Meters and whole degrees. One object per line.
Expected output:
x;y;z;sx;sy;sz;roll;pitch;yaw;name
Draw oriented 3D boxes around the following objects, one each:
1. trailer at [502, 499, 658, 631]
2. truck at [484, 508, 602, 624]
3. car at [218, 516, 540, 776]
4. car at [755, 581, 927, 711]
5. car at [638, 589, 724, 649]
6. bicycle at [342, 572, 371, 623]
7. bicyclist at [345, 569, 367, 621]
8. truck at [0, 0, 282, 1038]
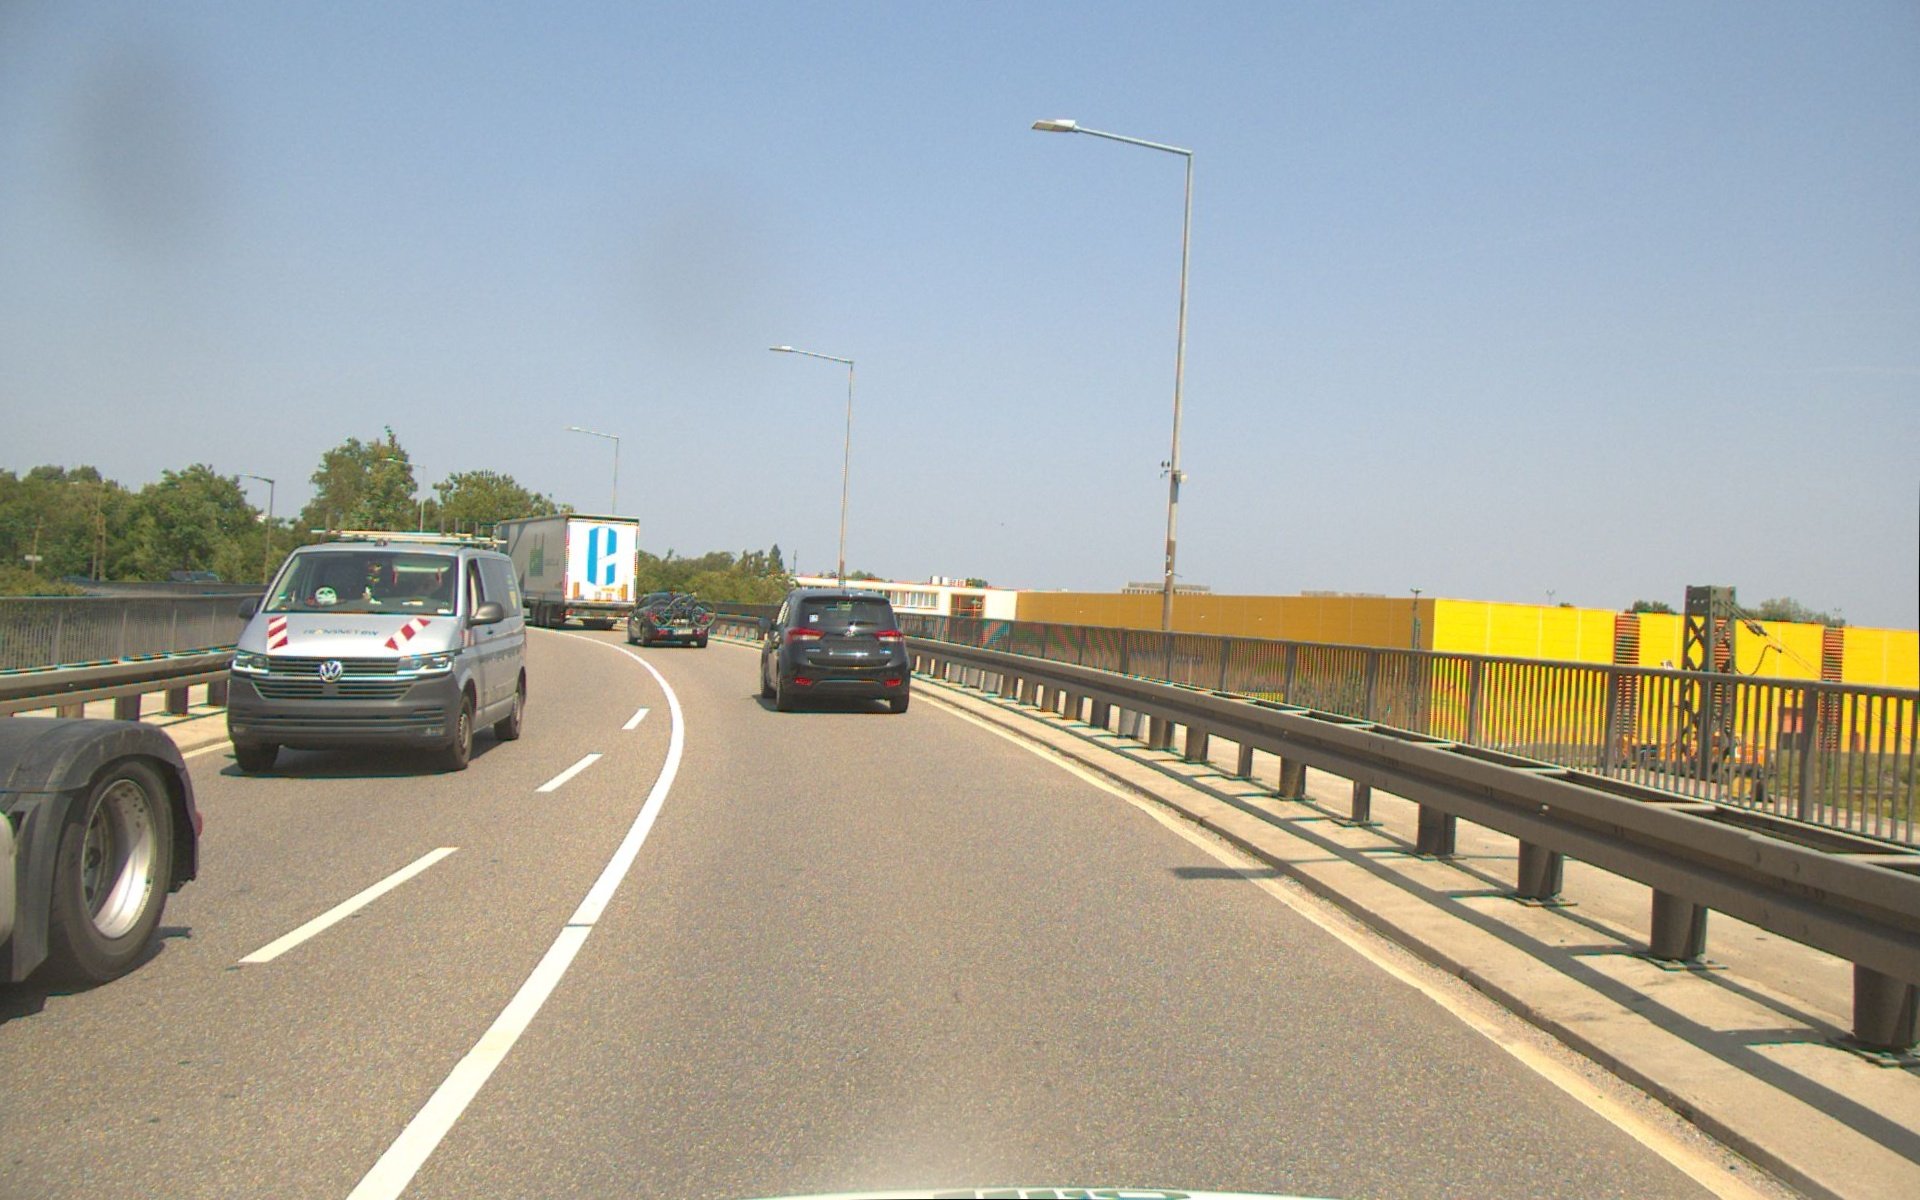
-14.636;-1.297;62.810;3.524;4.460;11.353;2;0;-24;trailer
-17.504;-1.384;69.128;3.528;4.518;6.462;2;0;-26;truck
-5.191;0.365;15.472;1.826;2.035;4.806;1;0;-7;car
-1.744;0.576;22.998;1.887;1.601;3.881;2;0;-11;car
-7.534;0.479;44.482;1.977;1.454;3.763;2;0;-14;car
-22.692;-0.105;62.148;0.690;1.833;2.161;2;0;-28;bicycle
-22.729;-0.181;62.195;0.617;1.919;0.705;2;0;-30;bicyclist
-4.326;-0.658;4.235;2.650;4.061;6.185;0;0;0;truck
